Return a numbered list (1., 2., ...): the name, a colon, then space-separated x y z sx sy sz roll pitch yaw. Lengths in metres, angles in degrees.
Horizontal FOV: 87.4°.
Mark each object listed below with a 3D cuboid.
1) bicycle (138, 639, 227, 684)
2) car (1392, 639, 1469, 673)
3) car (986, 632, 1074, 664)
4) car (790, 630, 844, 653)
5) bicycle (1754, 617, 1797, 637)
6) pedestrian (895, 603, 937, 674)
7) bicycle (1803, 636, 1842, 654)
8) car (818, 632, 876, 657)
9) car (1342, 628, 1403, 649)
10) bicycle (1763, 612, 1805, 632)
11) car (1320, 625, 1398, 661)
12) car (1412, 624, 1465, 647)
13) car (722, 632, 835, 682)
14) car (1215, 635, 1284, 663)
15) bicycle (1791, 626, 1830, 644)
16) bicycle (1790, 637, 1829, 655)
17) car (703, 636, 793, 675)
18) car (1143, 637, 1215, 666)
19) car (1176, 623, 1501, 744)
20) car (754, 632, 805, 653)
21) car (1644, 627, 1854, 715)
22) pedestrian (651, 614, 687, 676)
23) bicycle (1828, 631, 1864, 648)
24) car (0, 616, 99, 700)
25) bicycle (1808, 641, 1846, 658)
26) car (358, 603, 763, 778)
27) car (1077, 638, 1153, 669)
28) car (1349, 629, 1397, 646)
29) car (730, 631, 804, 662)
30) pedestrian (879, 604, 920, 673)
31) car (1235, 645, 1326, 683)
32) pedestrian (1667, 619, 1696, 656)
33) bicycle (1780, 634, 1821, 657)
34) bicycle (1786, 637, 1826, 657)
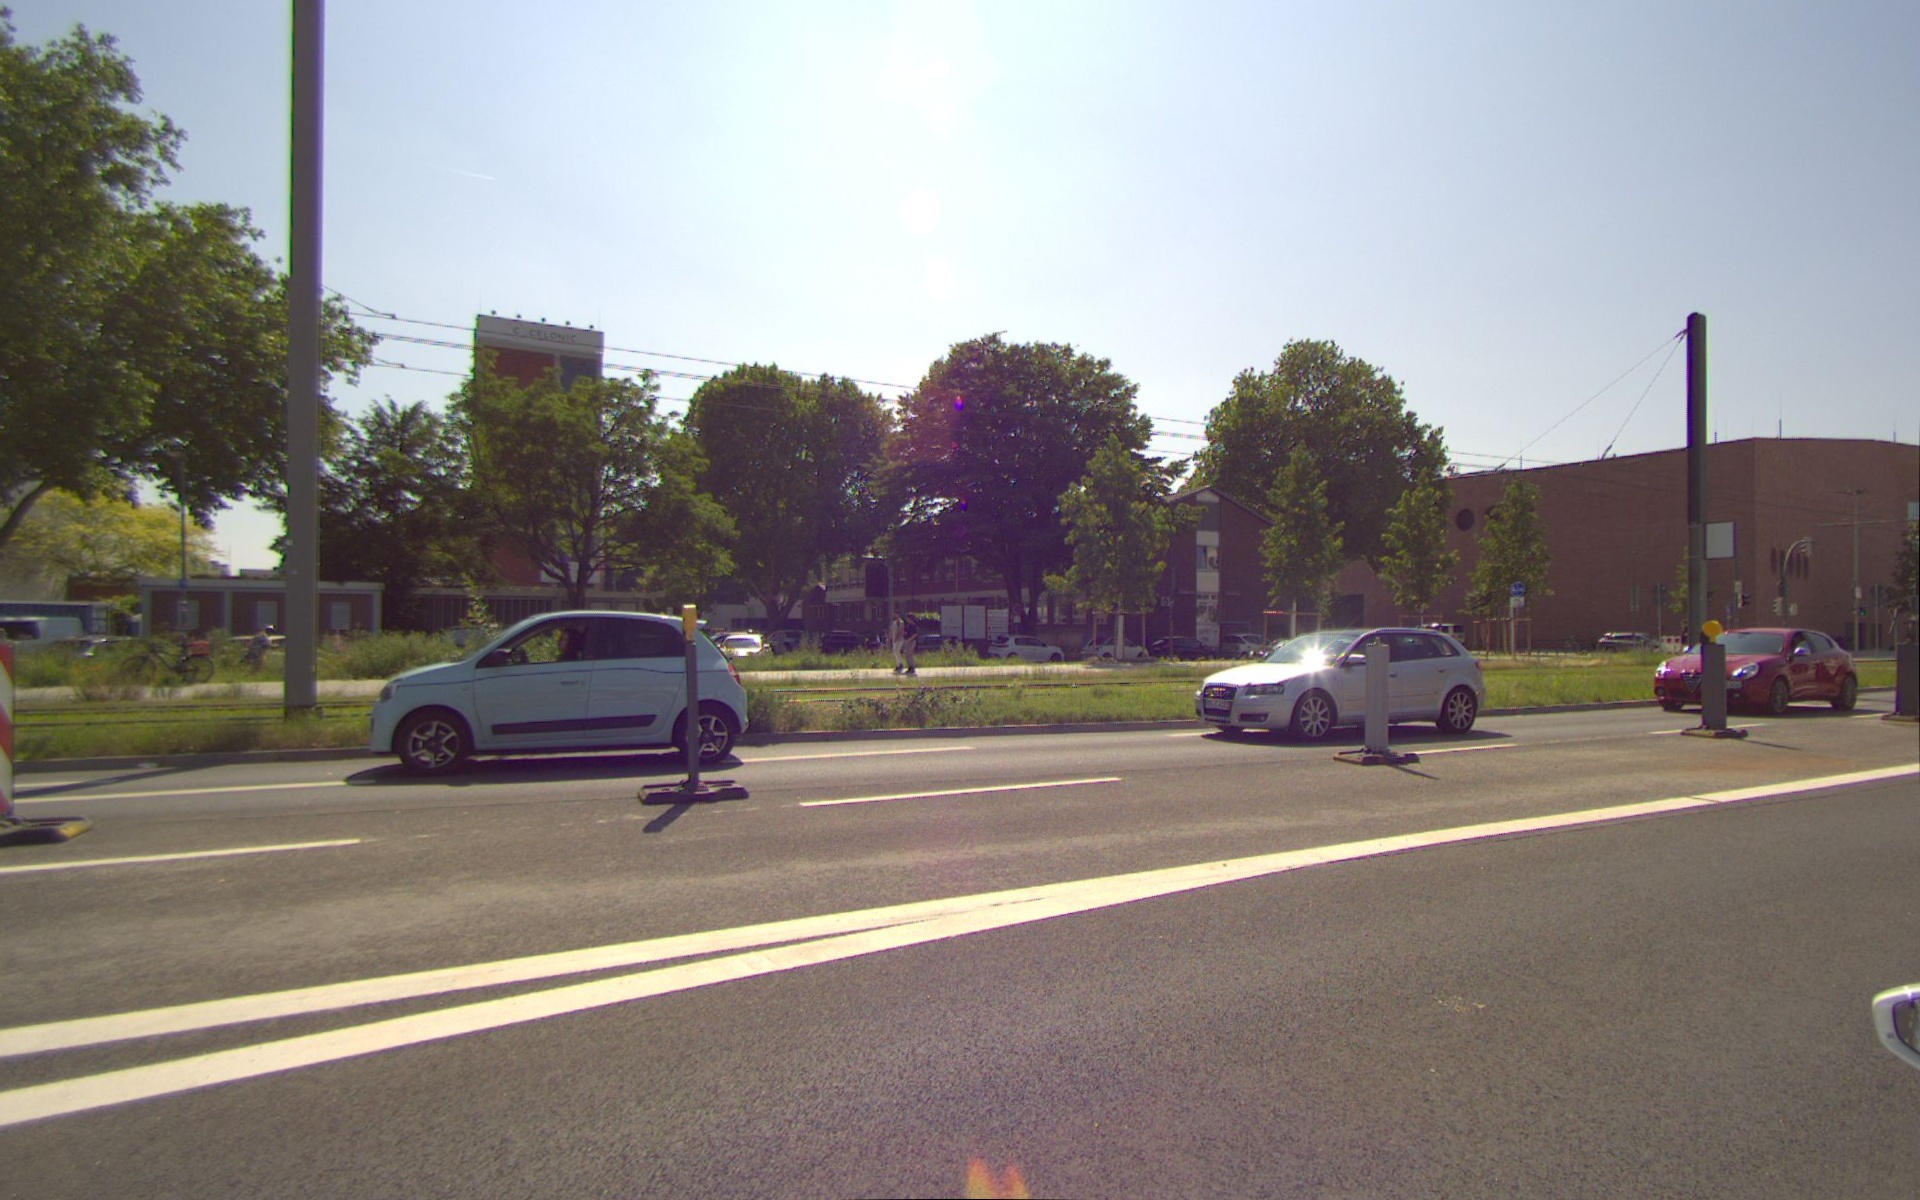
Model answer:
1. bicycle: -17.887 1.408 23.137 1.536 0.999 0.459 1 -1 -26
2. car: 25.912 3.087 55.308 4.248 1.784 1.691 2 -1 -29
3. car: 3.460 2.381 49.313 4.223 1.476 1.529 2 -1 -34
4. car: -9.811 2.814 68.916 3.307 1.472 1.529 1 0 -30
5. bicycle: 52.134 1.721 64.228 0.535 1.228 2.035 1 0 -38
6. pedestrian: -1.300 1.122 29.534 0.898 2.040 0.980 1 0 -26
7. bicycle: 61.535 3.227 71.668 0.535 1.228 2.035 1 -1 -38
8. car: -7.170 2.779 63.541 3.307 1.472 1.529 1 0 -30
9. car: 30.675 2.850 74.761 1.972 1.421 3.978 2 -1 -23
10. bicycle: 54.031 1.436 65.884 0.535 1.228 2.034 1 -1 -40
11. car: 20.999 2.253 52.829 3.891 1.784 1.691 2 -1 -28
12. car: 37.947 2.796 79.755 1.672 1.712 3.529 1 0 -28
13. car: -6.482 2.007 35.959 3.599 1.612 1.757 1 0 -34
14. car: 16.355 2.751 56.723 3.741 1.476 1.532 1 -1 -29
15. bicycle: 59.195 2.444 69.910 0.535 1.228 2.035 1 -1 -38
16. bicycle: 59.893 3.230 70.820 0.535 1.228 2.035 1 -1 -38
17. car: -9.502 2.466 45.091 3.599 1.612 1.757 1 0 -34
18. car: 11.735 2.737 53.717 3.745 1.476 1.530 1 -1 -32
19. car: 5.109 1.064 13.505 4.237 1.435 1.576 1 -2 -24
20. car: -13.251 3.094 73.753 3.307 1.472 1.529 1 0 -30
21. car: 14.198 1.231 18.043 3.951 1.435 1.573 2 -2 -29
22. pedestrian: -7.772 1.192 26.825 0.815 1.597 0.812 1 0 -23
23. bicycle: 67.508 3.012 76.544 0.535 1.228 2.035 1 -1 -38
24. car: -26.292 1.524 26.935 2.072 2.208 5.076 1 -1 -1
25. bicycle: 64.174 3.641 74.359 0.535 1.228 2.033 1 -1 -40
26. car: -3.951 0.882 10.326 3.567 1.550 1.578 1 -4 -22
27. car: 7.928 2.726 51.272 3.746 1.476 1.530 2 -1 -33
28. car: 34.913 3.190 84.901 1.692 1.339 3.481 2 -1 -29
29. car: -9.629 2.301 50.210 3.307 1.472 1.529 1 0 -30
30. pedestrian: -1.837 1.146 30.409 0.970 2.040 0.836 1 0 -26
31. car: 16.023 3.186 50.171 4.475 1.784 1.691 2 -1 -29
32. pedestrian: 36.967 1.891 51.483 1.092 1.871 0.809 1 -1 -25
33. bicycle: 55.959 3.037 66.921 0.535 1.472 2.035 0 -1 -38
34. bicycle: 57.429 3.182 68.174 0.535 1.228 2.035 1 -1 -38
